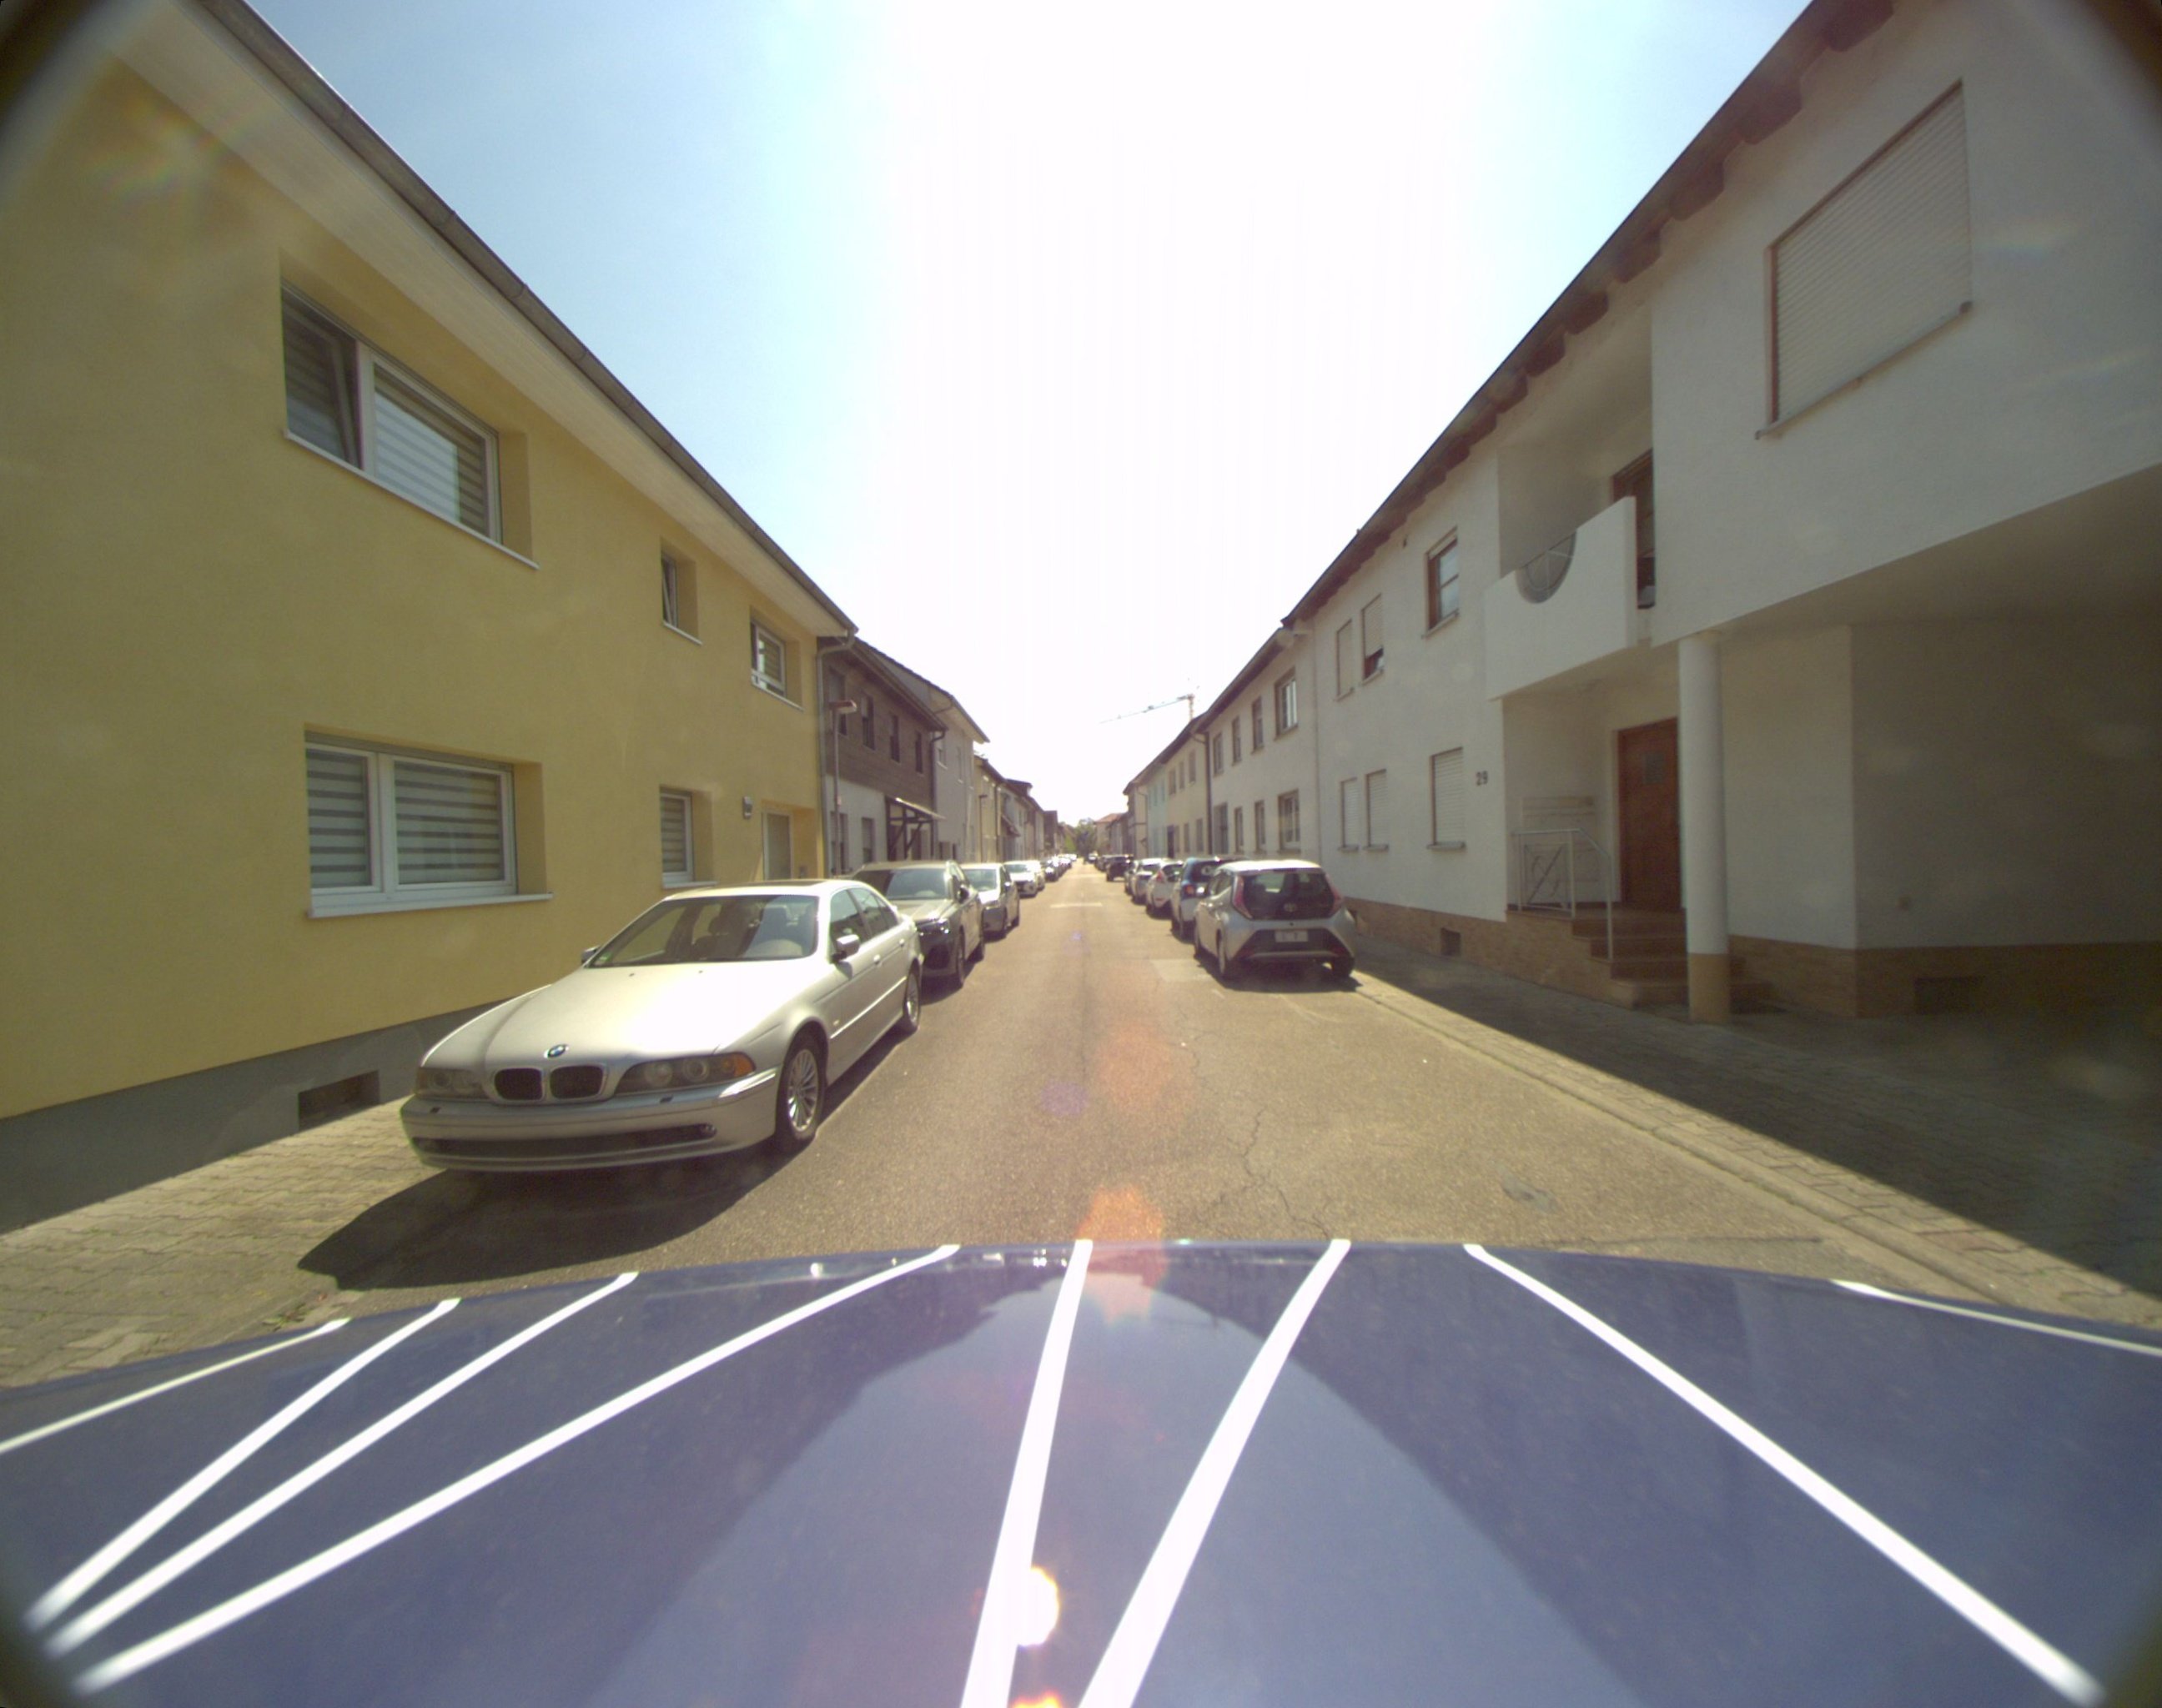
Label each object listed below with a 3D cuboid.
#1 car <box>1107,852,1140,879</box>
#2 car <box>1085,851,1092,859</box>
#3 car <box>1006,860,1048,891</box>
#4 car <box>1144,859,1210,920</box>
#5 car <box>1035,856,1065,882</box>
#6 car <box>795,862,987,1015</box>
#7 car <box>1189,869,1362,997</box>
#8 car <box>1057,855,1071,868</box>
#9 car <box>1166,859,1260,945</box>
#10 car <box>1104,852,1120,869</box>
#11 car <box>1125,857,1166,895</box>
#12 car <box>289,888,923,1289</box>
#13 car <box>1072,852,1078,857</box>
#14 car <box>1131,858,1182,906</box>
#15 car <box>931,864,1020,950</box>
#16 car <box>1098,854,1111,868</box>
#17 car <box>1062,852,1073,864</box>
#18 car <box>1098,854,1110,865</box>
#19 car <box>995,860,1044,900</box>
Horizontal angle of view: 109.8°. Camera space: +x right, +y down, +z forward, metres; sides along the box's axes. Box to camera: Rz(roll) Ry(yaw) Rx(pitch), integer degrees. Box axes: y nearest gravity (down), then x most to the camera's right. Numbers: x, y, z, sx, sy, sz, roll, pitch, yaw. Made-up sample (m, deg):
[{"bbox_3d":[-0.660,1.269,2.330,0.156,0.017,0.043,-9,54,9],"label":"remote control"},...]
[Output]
[{"bbox_3d":[2.639,0.690,47.843,1.819,1.598,3.887,-1,0,0],"label":"car"},{"bbox_3d":[1.566,0.190,152.931,1.414,1.389,3.323,-1,0,0],"label":"car"},{"bbox_3d":[-2.623,1.019,37.799,1.761,1.351,4.045,-3,0,0],"label":"car"},{"bbox_3d":[2.508,0.894,20.432,1.414,1.446,3.462,-1,0,1],"label":"car"},{"bbox_3d":[-2.032,0.974,50.711,1.736,1.502,3.623,-3,0,0],"label":"car"},{"bbox_3d":[-2.341,0.954,10.393,1.684,1.575,3.961,-2,0,-2],"label":"car"},{"bbox_3d":[2.492,0.947,10.450,1.606,1.434,3.214,-1,0,1],"label":"car"},{"bbox_3d":[-1.933,0.876,86.098,1.414,1.389,3.323,-1,0,0],"label":"car"},{"bbox_3d":[2.557,0.880,15.256,1.414,1.519,3.025,-1,0,1],"label":"car"},{"bbox_3d":[3.011,0.574,74.156,1.414,1.582,3.542,-1,0,0],"label":"car"},{"bbox_3d":[2.664,0.890,31.867,1.414,1.446,3.542,-1,0,0],"label":"car"},{"bbox_3d":[-2.368,1.052,5.218,1.666,1.406,4.248,-1,0,0],"label":"car"},{"bbox_3d":[-1.372,0.054,176.358,1.414,1.111,3.323,-1,0,0],"label":"car"},{"bbox_3d":[2.512,0.900,25.838,1.414,1.446,3.543,-1,0,1],"label":"car"},{"bbox_3d":[-2.157,1.036,16.234,1.403,1.518,3.397,-3,0,-1],"label":"car"},{"bbox_3d":[2.756,0.750,87.984,1.414,1.582,3.323,-1,0,0],"label":"car"},{"bbox_3d":[-1.835,0.520,104.749,1.414,1.604,3.323,-1,0,0],"label":"car"},{"bbox_3d":[2.832,0.672,95.839,1.414,1.389,3.323,-1,0,0],"label":"car"},{"bbox_3d":[-2.534,1.046,32.281,1.743,1.459,4.045,-3,0,-1],"label":"car"}]
